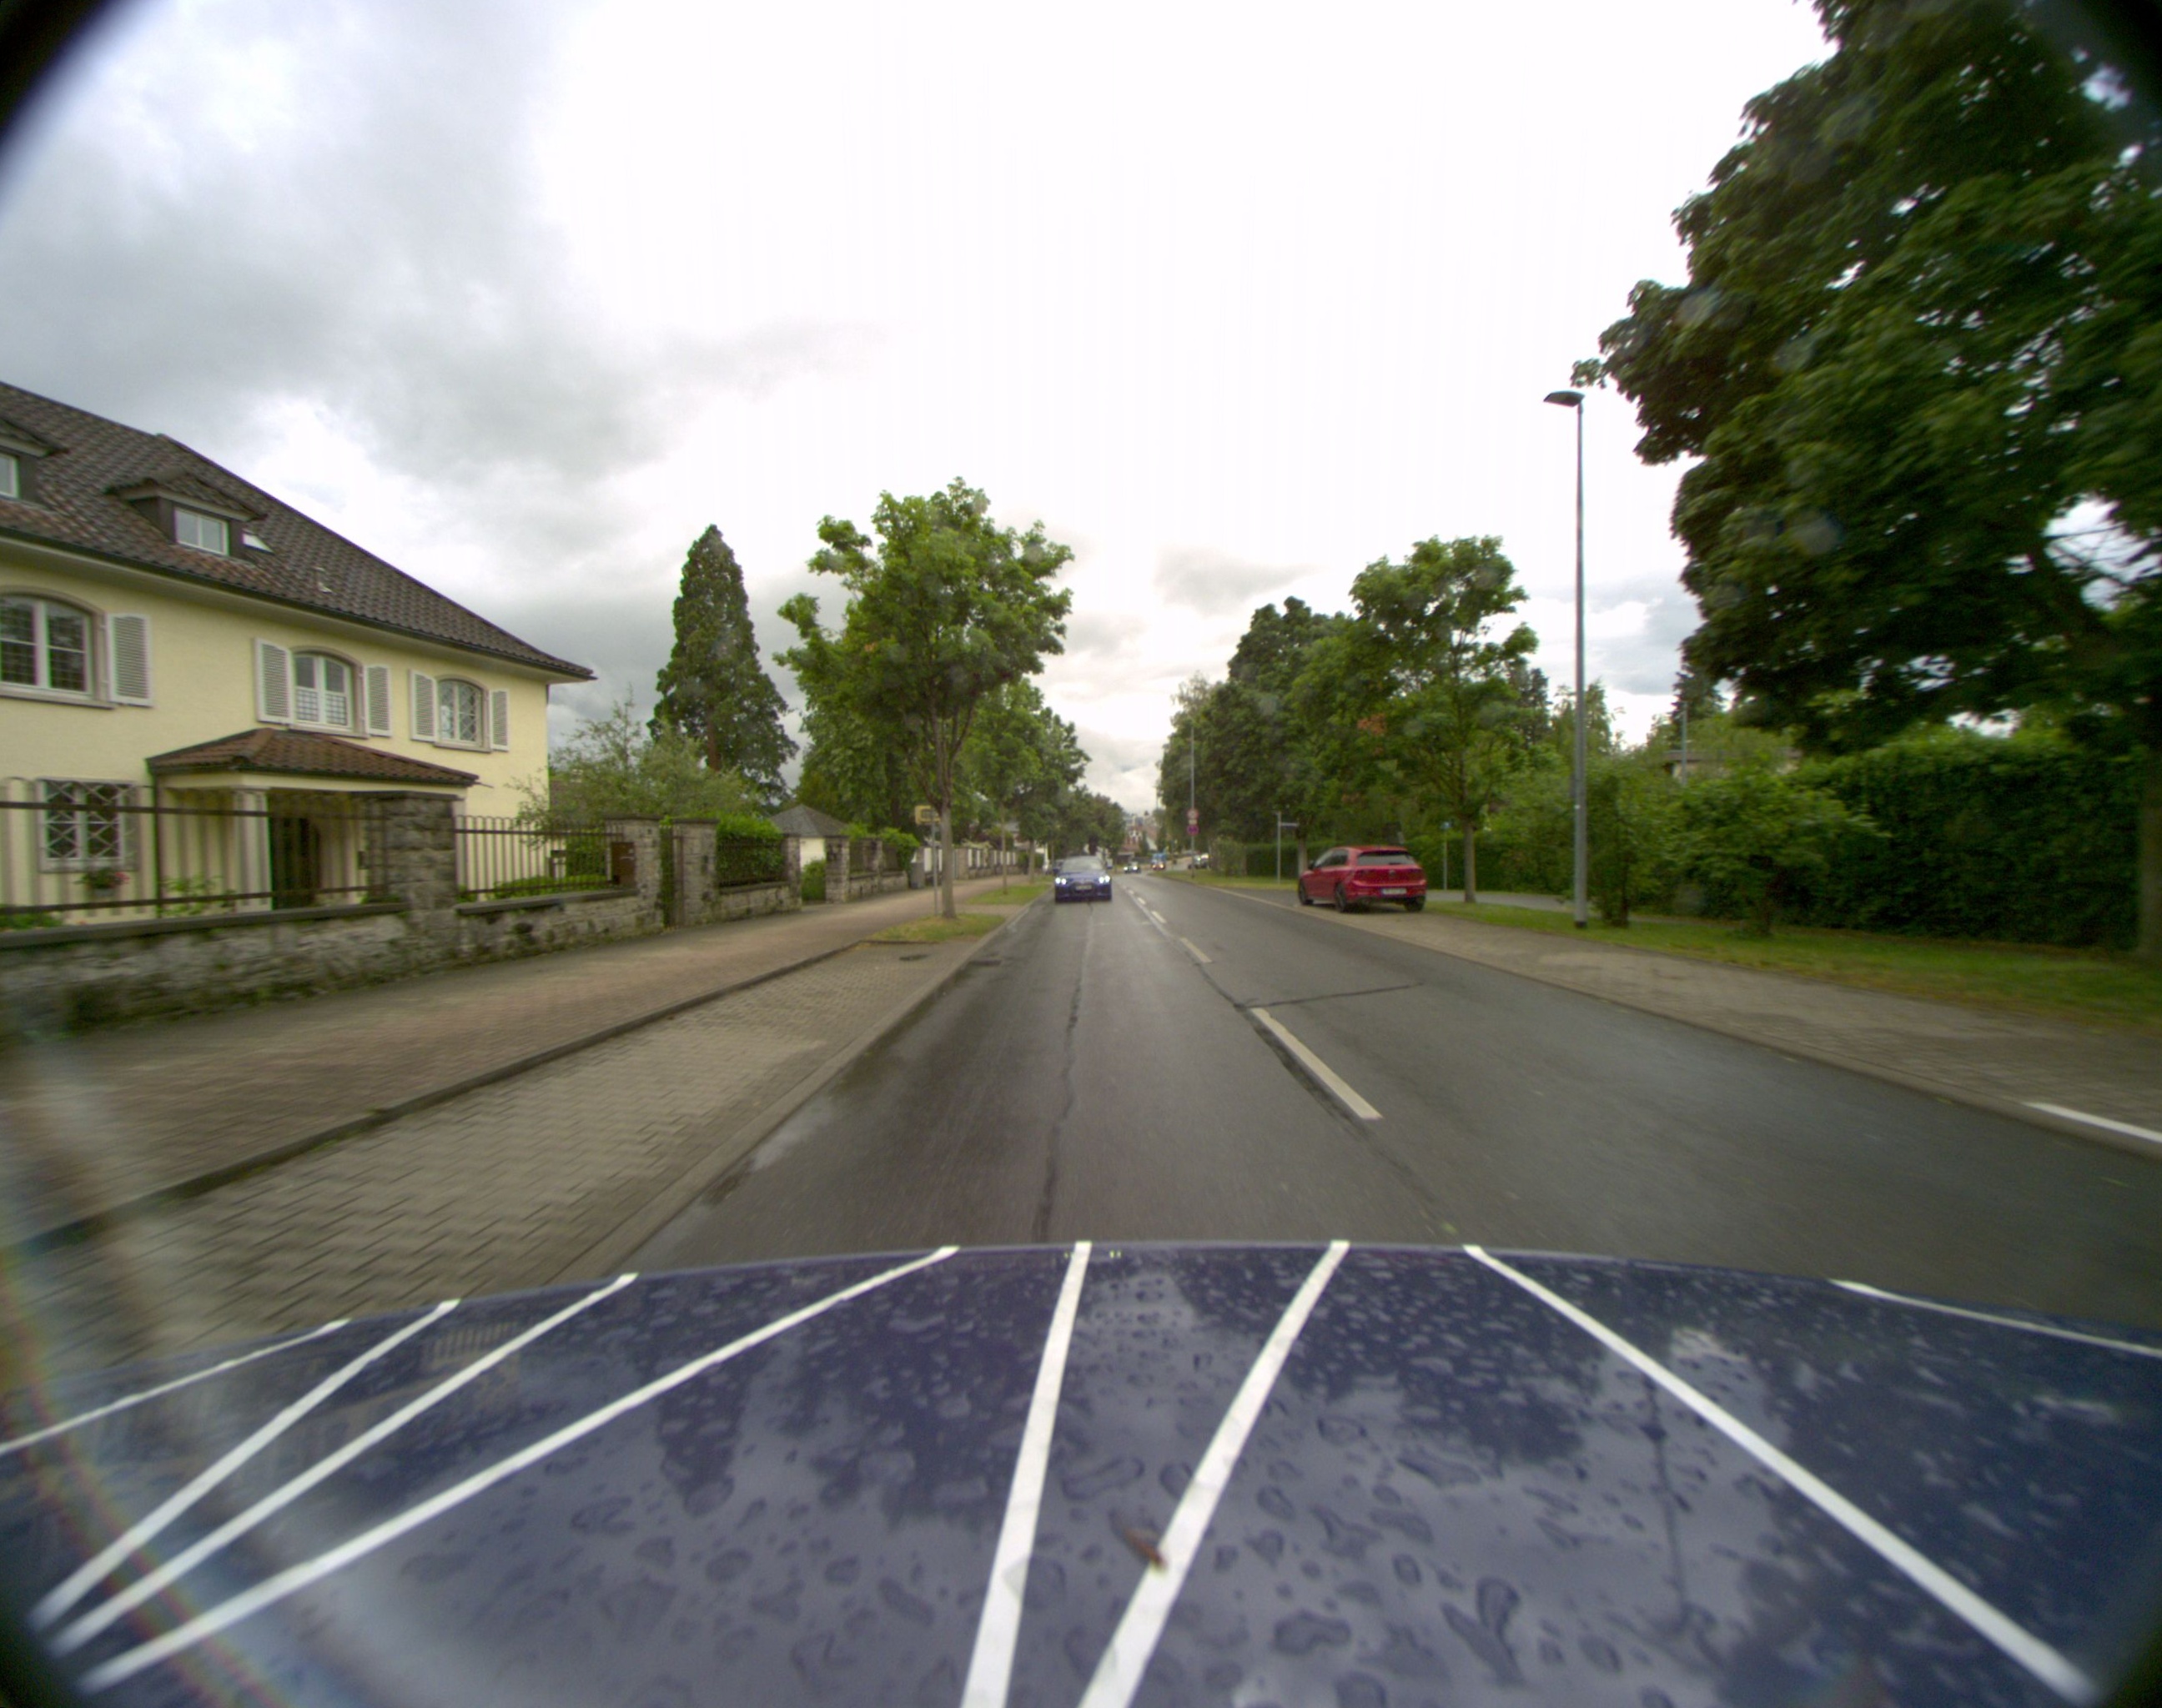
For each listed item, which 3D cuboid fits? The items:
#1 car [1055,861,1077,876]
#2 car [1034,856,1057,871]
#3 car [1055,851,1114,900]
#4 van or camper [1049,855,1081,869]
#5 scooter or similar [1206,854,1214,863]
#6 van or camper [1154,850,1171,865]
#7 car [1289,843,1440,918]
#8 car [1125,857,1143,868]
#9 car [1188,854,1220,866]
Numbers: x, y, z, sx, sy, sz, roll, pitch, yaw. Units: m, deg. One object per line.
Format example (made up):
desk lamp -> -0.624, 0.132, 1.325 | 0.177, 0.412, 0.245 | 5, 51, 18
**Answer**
car -> -1.346, 1.335, 70.749 | 1.645, 1.369, 3.830 | 1, 0, 5
car -> -4.188, 1.085, 91.114 | 1.797, 1.747, 4.946 | -1, 0, 8
car -> 0.199, 0.711, 27.141 | 1.895, 1.531, 4.001 | -3, 0, 3
van or camper -> -2.195, 1.099, 105.411 | 3.992, 1.668, 2.125 | 3, 1, 12
scooter or similar -> 17.297, 0.629, 101.726 | 0.424, 1.151, 1.493 | -3, -1, 36
van or camper -> 15.446, 0.575, 143.577 | 2.146, 2.594, 5.788 | 1, 2, 17
car -> 6.310, 0.531, 17.481 | 1.848, 1.457, 4.249 | -1, 0, 0
car -> 7.622, 1.200, 108.196 | 1.894, 1.531, 4.004 | -3, 0, 13
car -> 18.205, 0.929, 112.775 | 4.434, 1.409, 1.758 | -5, 0, 16
